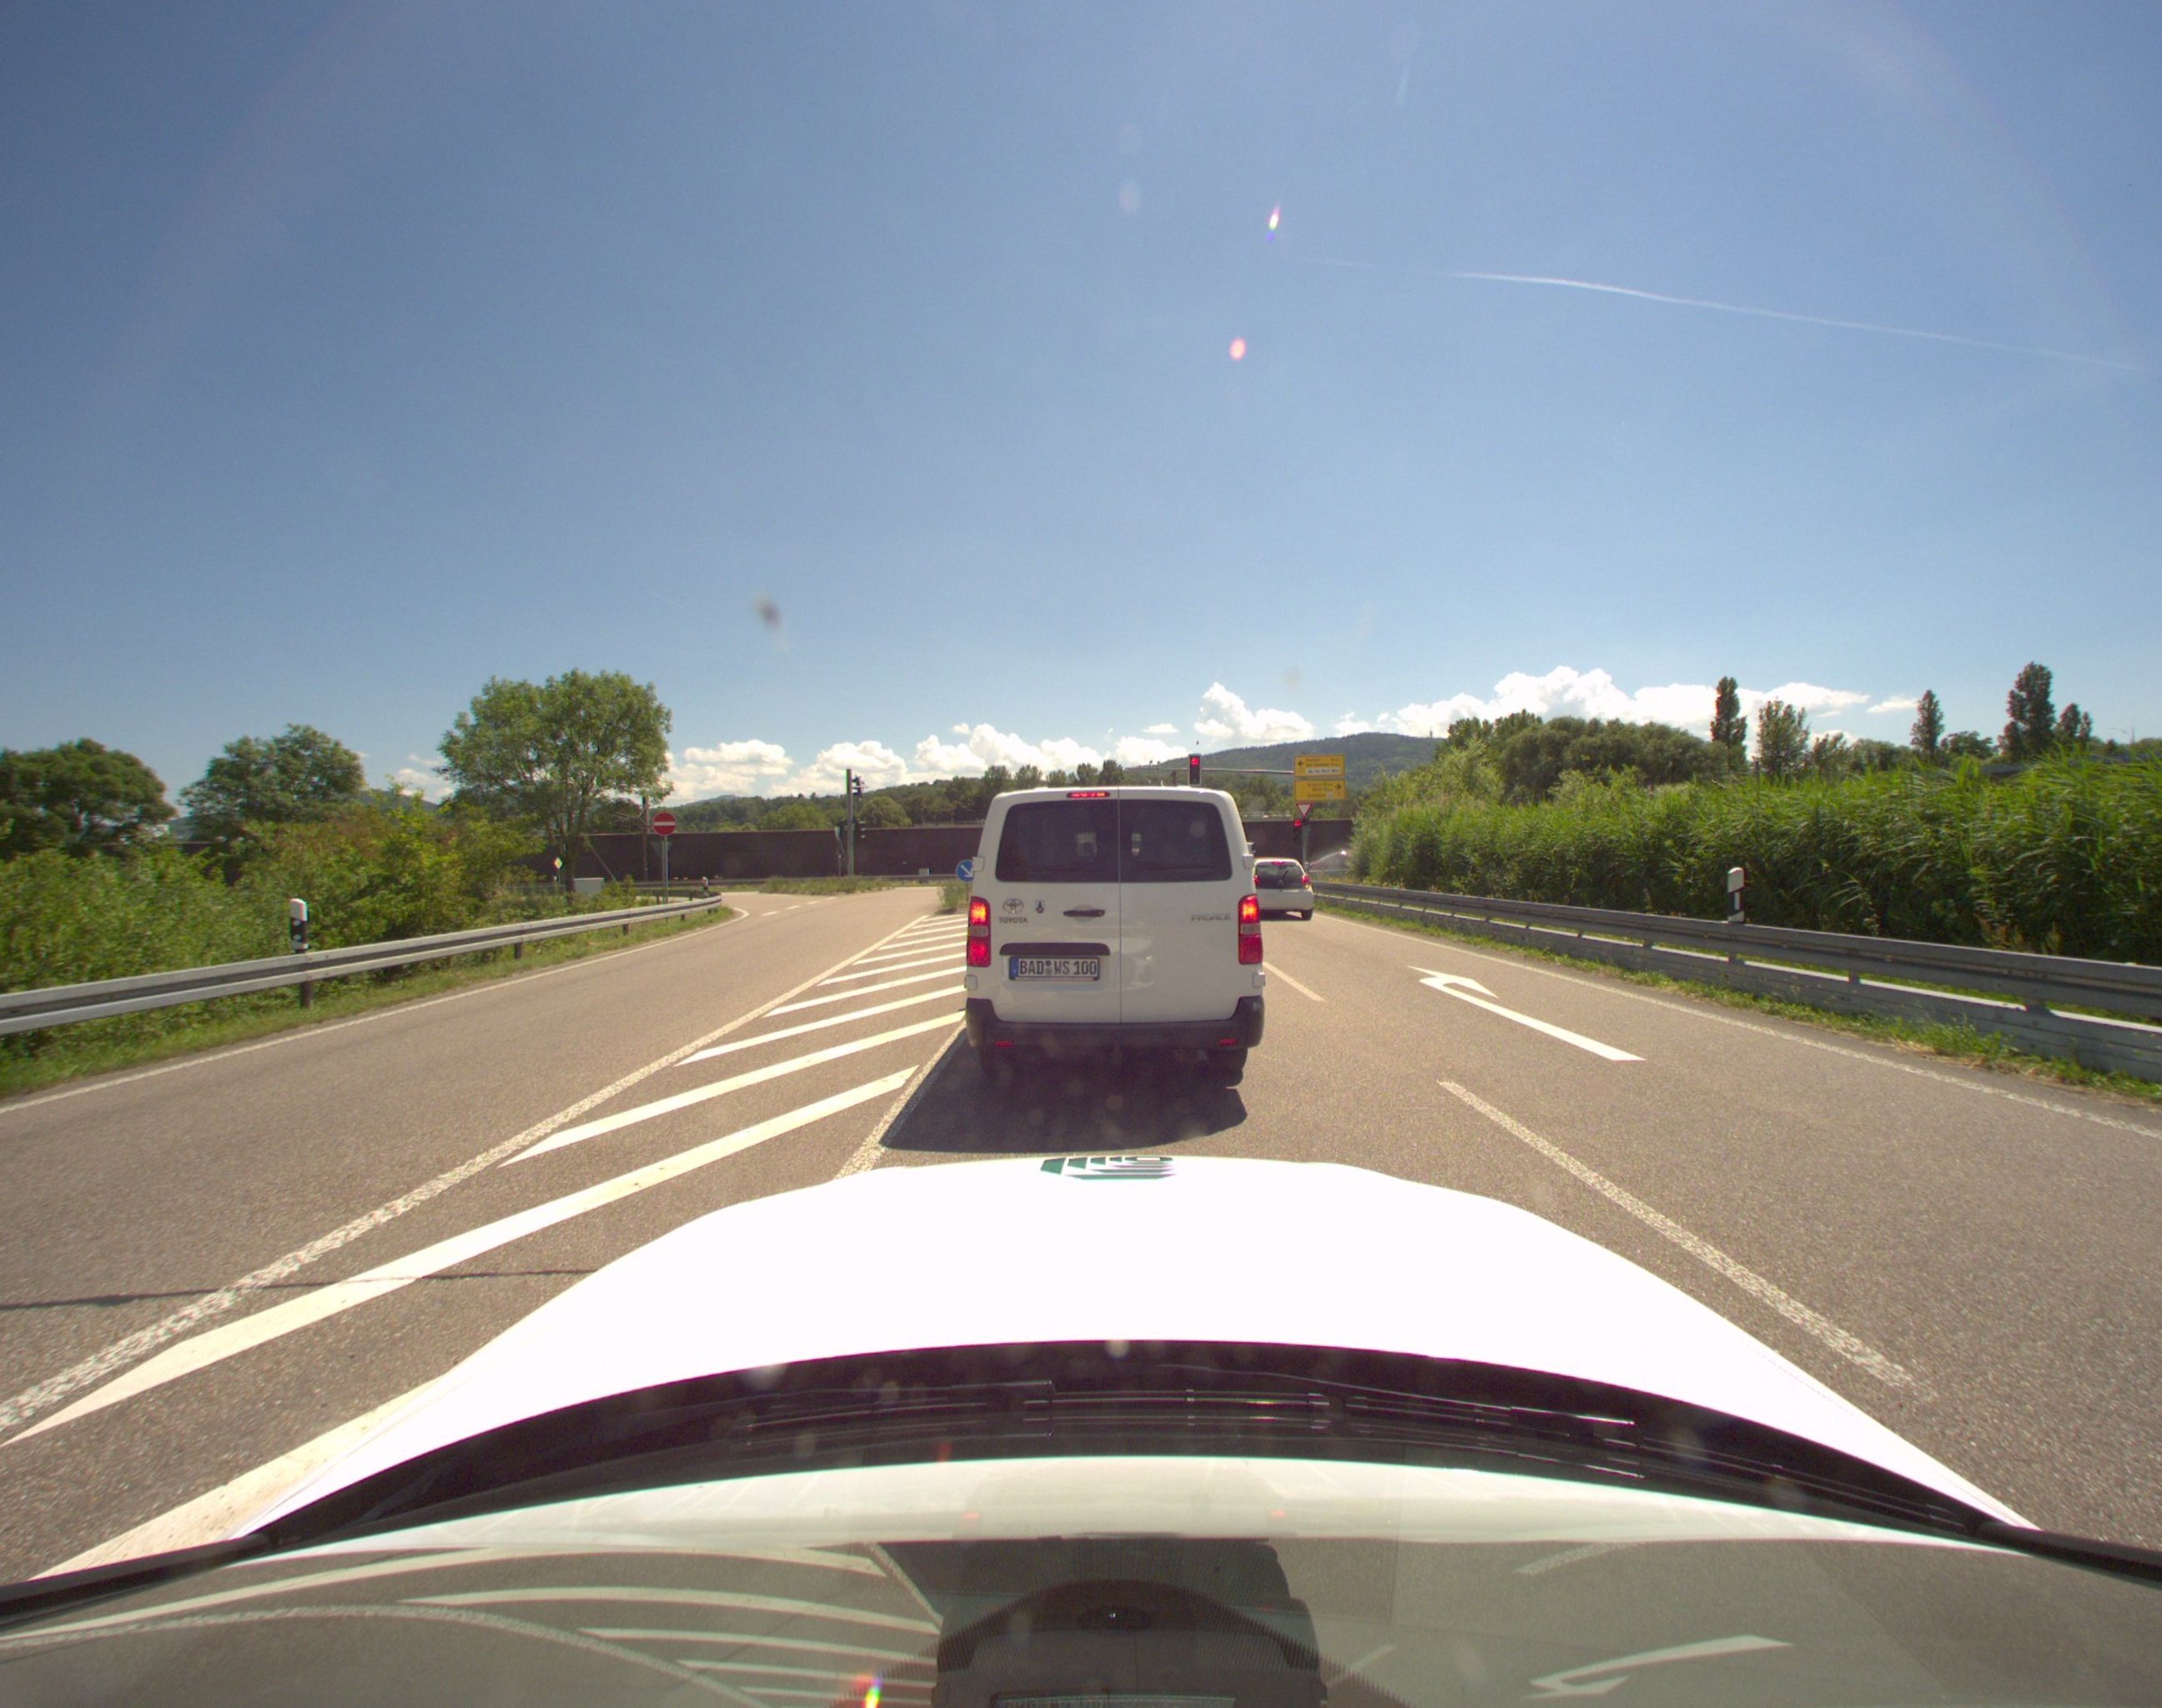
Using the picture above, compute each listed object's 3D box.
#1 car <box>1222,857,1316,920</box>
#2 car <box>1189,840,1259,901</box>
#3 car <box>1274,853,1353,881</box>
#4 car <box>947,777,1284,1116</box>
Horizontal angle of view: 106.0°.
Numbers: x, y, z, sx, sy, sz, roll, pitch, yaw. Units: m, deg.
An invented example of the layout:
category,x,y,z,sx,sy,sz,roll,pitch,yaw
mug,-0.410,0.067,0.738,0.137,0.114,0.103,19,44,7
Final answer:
category,x,y,z,sx,sy,sz,roll,pitch,yaw
car,4.621,0.812,20.475,1.650,1.431,3.366,0,0,1
car,4.998,0.555,29.052,1.920,2.000,4.842,0,0,4
car,14.372,0.791,50.447,4.298,1.656,1.999,-1,-1,-2
car,0.240,0.531,6.567,1.880,1.886,4.001,0,-1,1
